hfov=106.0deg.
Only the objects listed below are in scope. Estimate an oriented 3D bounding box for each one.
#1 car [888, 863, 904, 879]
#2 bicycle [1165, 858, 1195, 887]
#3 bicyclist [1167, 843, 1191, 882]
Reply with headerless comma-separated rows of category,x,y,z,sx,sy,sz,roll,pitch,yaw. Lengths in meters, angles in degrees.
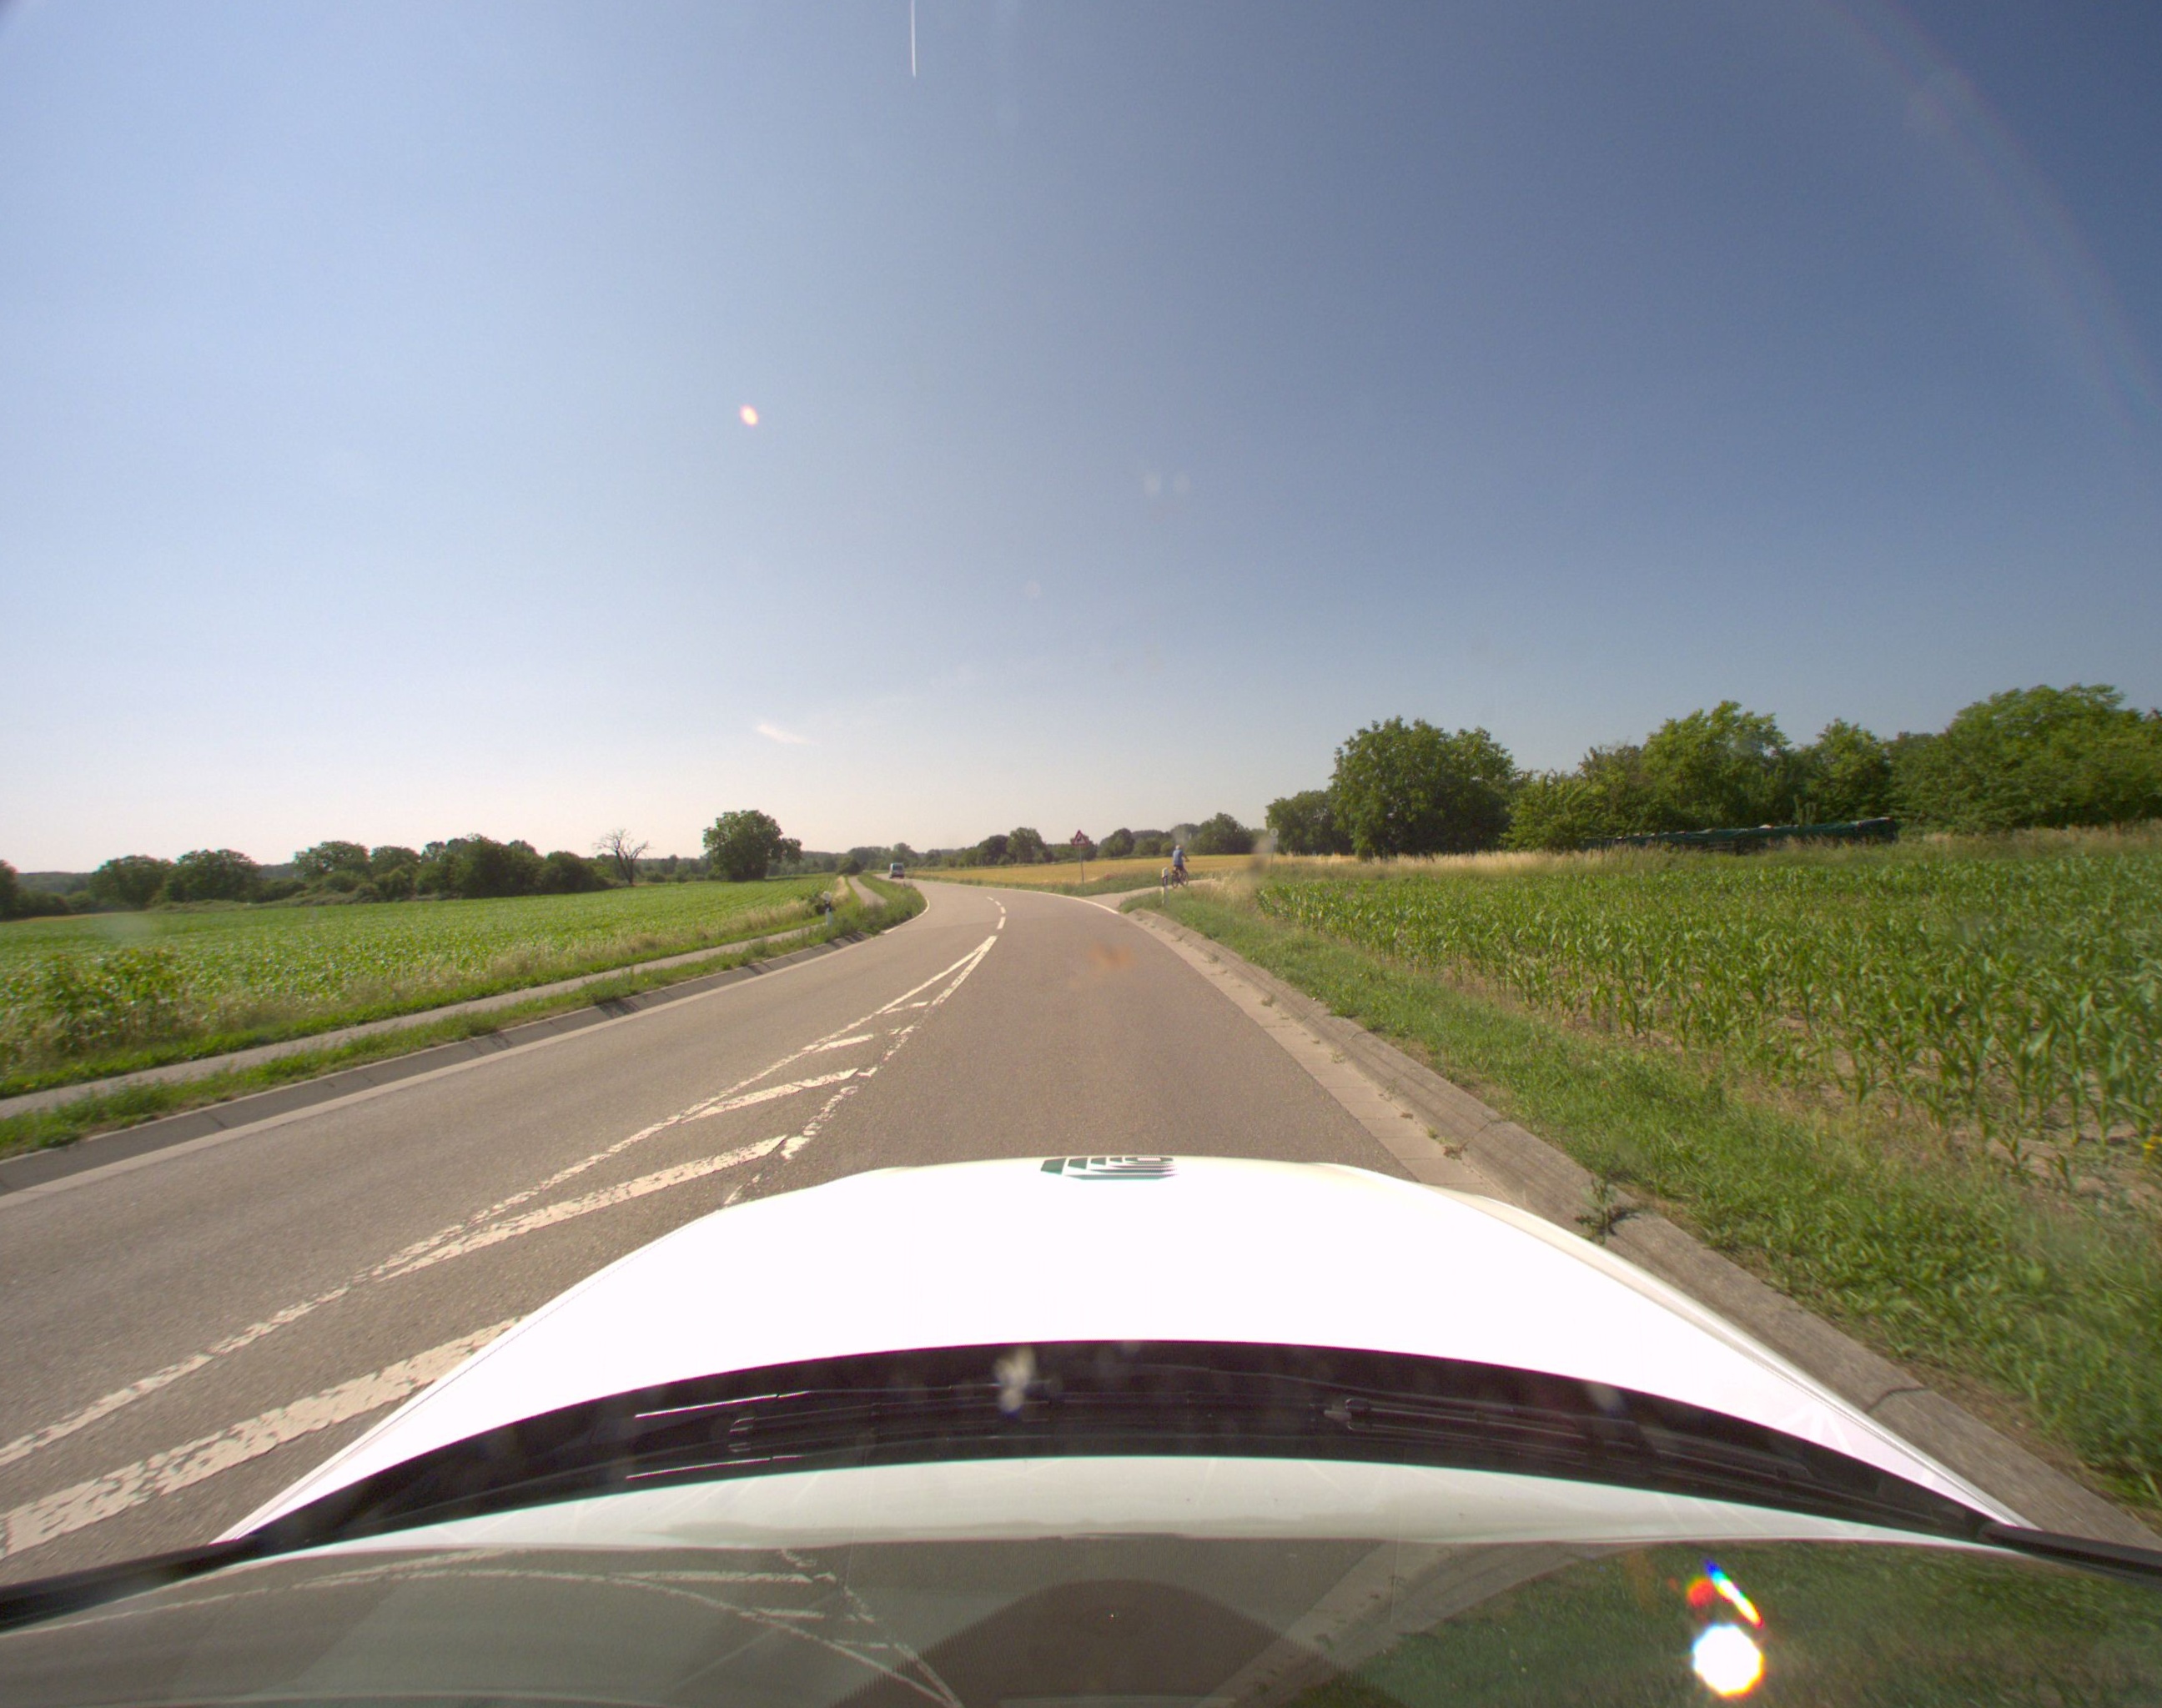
car,-29.752,2.682,130.776,2.109,2.367,5.653,-3,0,-17
bicycle,4.107,0.744,33.725,0.515,1.115,1.780,-4,-1,31
bicyclist,4.054,0.355,33.678,0.666,1.574,0.740,-4,-1,31
